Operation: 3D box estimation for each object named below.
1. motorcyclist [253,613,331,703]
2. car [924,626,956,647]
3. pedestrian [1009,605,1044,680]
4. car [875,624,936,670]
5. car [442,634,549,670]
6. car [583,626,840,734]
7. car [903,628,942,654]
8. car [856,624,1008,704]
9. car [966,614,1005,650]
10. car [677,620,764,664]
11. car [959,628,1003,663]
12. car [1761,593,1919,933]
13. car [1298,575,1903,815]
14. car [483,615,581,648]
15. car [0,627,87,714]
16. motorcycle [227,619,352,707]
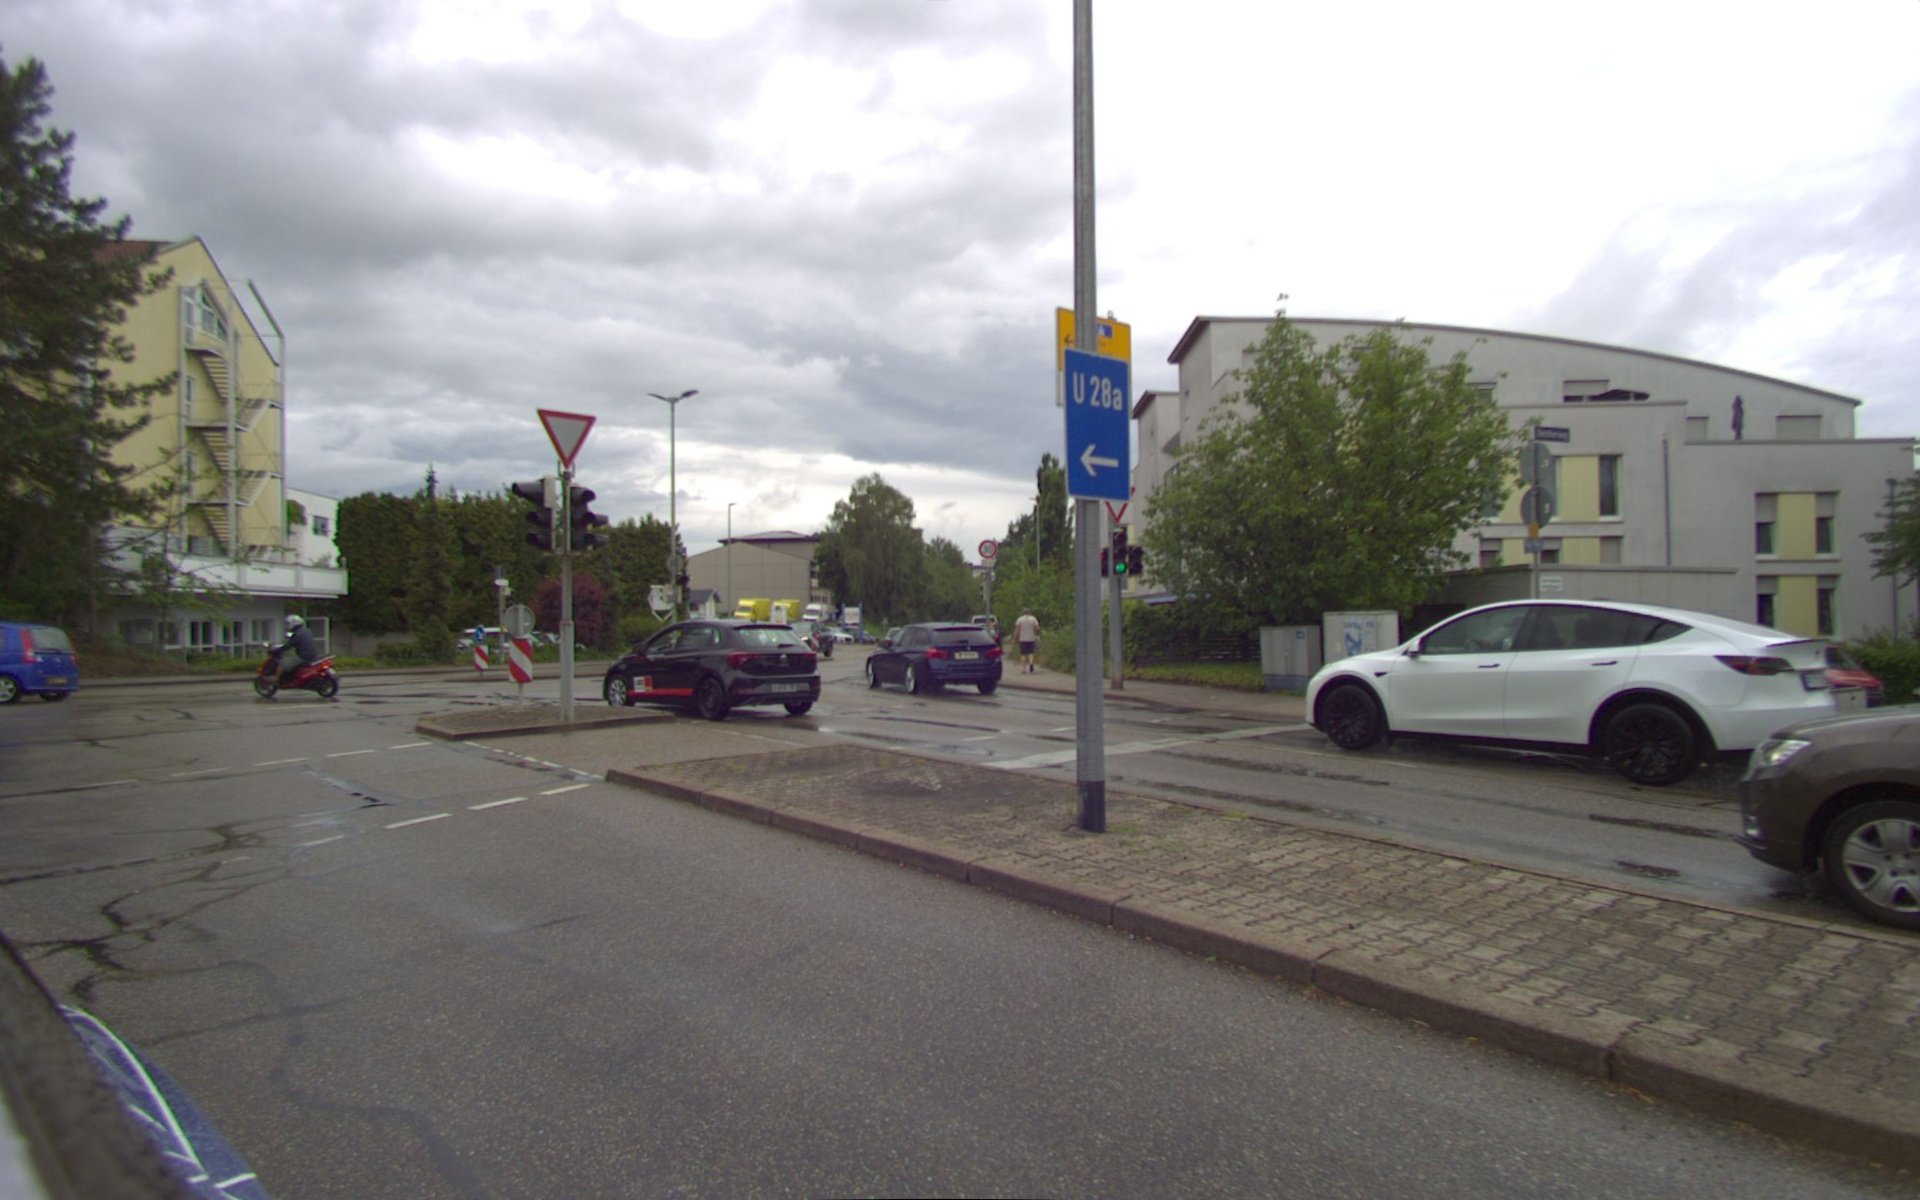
[{"bbox_3d":[-12.718,1.097,19.298,0.927,1.636,0.772,-1,2,3],"label":"motorcyclist"},{"bbox_3d":[-1.539,2.853,79.192,1.976,1.567,3.992,-2,-1,6],"label":"car"},{"bbox_3d":[1.833,1.171,27.966,0.837,2.029,0.802,-1,-1,-3],"label":"pedestrian"},{"bbox_3d":[-2.321,1.997,43.963,1.976,1.682,3.992,-1,2,7],"label":"car"},{"bbox_3d":[-20.569,2.300,44.889,3.961,1.475,1.991,0,0,14],"label":"car"},{"bbox_3d":[-3.874,1.113,15.387,4.203,1.419,1.796,-2,-2,43],"label":"car"},{"bbox_3d":[-2.371,2.640,64.831,1.975,1.564,3.993,-1,-3,5],"label":"car"},{"bbox_3d":[-0.717,1.252,21.269,1.729,1.446,4.366,0,-1,-22],"label":"car"},{"bbox_3d":[1.916,2.416,74.083,2.568,2.432,5.247,-1,-4,5],"label":"car"},{"bbox_3d":[-9.782,1.697,41.683,1.980,1.652,3.984,0,0,12],"label":"car"},{"bbox_3d":[1.060,2.195,49.227,1.973,1.567,3.997,-2,-1,3],"label":"car"},{"bbox_3d":[5.772,0.721,3.819,1.798,1.498,3.948,2,-2,-34],"label":"car"},{"bbox_3d":[5.886,0.720,9.954,1.922,1.738,4.613,-2,0,-34],"label":"car"},{"bbox_3d":[-19.974,1.444,47.268,3.958,1.404,1.726,0,2,12],"label":"car"},{"bbox_3d":[-17.750,1.214,17.712,3.384,1.467,1.528,1,-3,-10],"label":"car"},{"bbox_3d":[-12.785,1.192,19.316,1.897,1.637,0.796,-1,-2,4],"label":"motorcycle"}]
